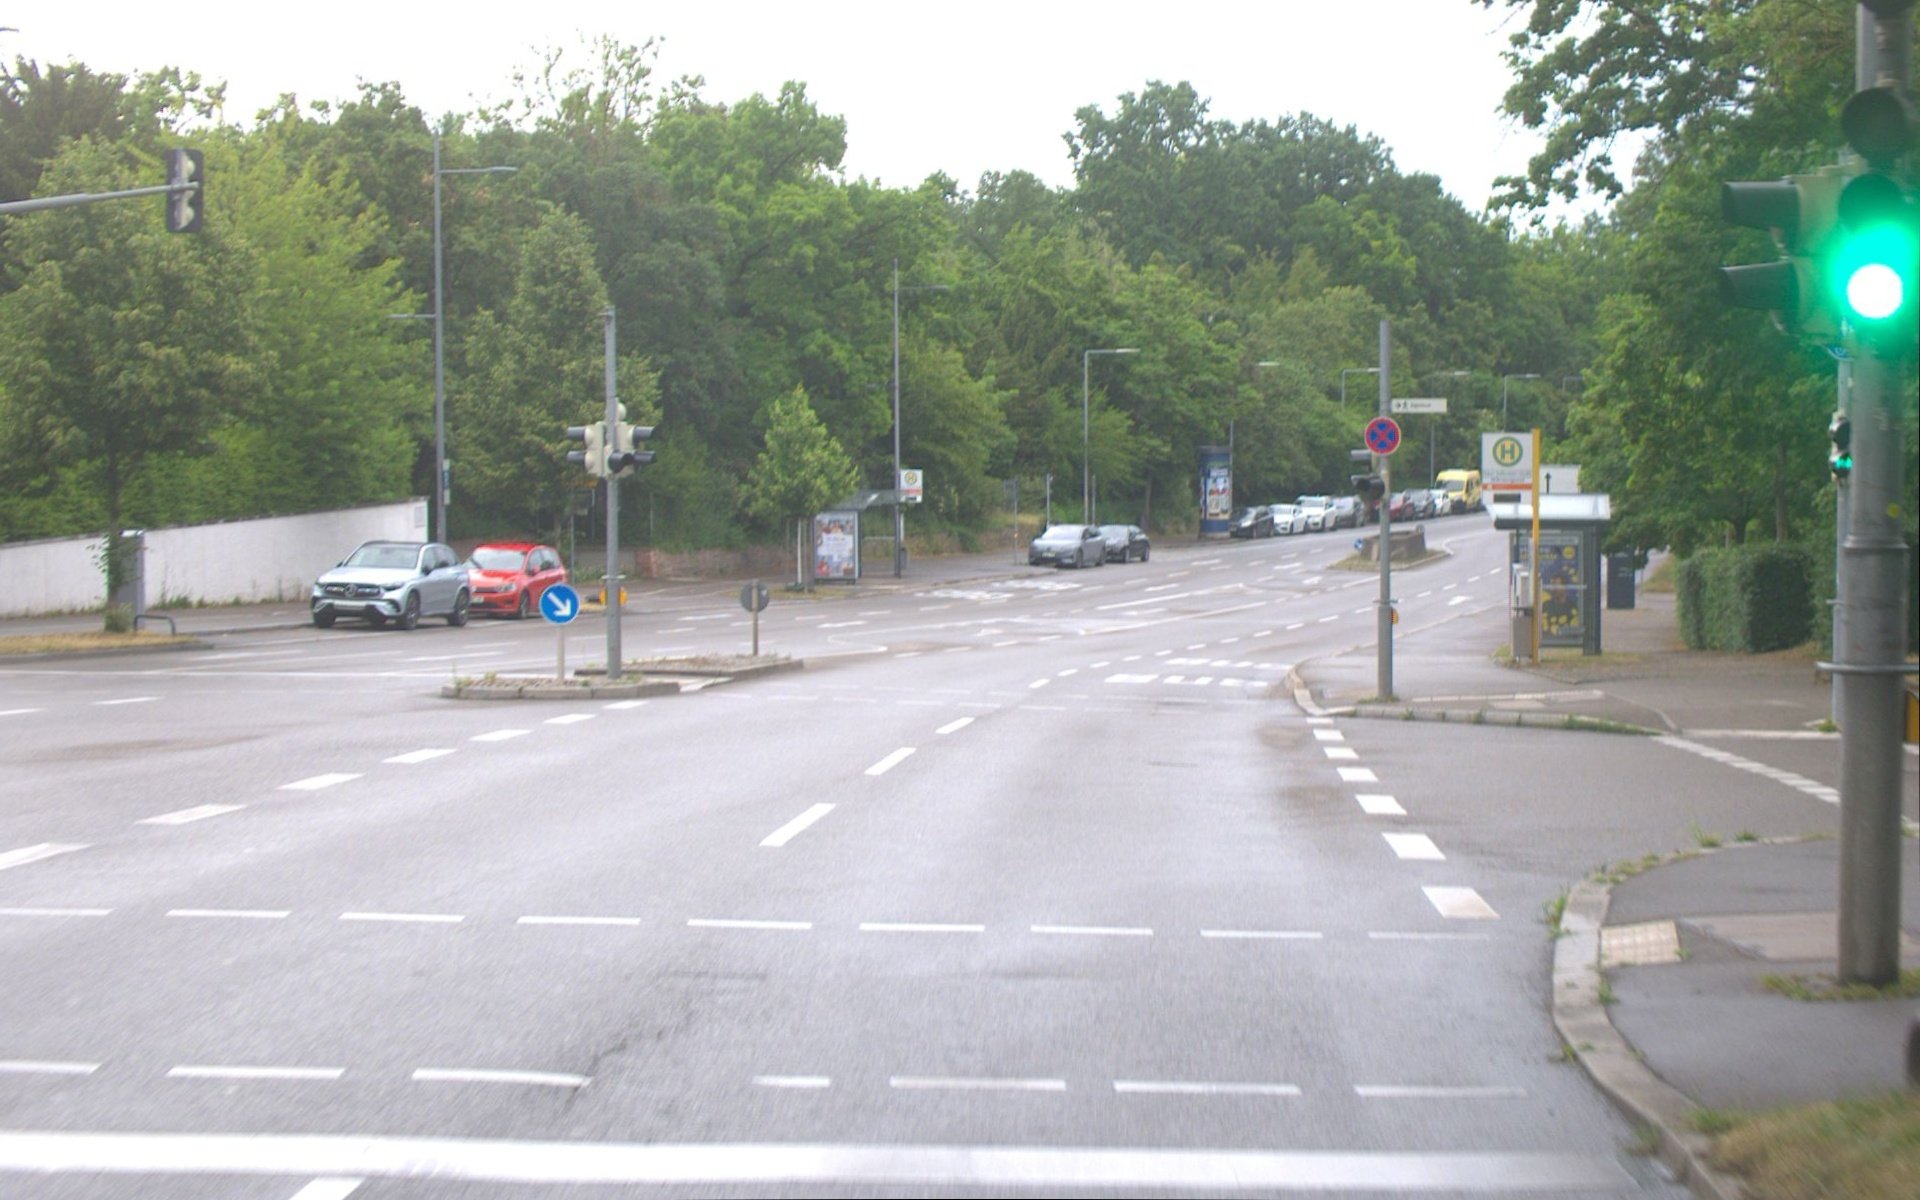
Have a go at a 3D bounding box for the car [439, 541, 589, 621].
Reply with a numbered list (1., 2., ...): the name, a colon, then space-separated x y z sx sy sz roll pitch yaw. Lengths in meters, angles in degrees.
1. car: -9.425 -0.431 72.973 1.875 1.569 4.221 3 2 11

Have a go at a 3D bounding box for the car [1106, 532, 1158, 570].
1. car: 6.604 -1.868 131.863 1.417 1.420 3.120 1 1 14

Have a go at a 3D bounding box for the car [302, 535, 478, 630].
1. car: -10.844 -0.370 65.724 1.854 1.634 4.091 3 2 12

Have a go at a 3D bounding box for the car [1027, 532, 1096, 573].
1. car: 3.745 -1.738 126.027 1.714 1.455 3.748 1 1 14

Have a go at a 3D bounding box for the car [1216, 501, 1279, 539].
1. car: 13.406 -3.718 160.098 1.958 1.480 3.997 3 5 19

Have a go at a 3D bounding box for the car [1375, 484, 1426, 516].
1. car: 24.287 -5.502 189.338 1.958 1.480 3.997 3 5 19

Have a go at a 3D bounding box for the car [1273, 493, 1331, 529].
1. car: 16.868 -4.409 169.495 1.958 1.480 3.997 3 5 19

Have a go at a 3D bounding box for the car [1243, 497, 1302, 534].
1. car: 14.983 -4.069 164.797 1.861 1.480 3.997 3 5 19

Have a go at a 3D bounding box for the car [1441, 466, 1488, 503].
1. car: 29.983 -6.860 204.123 1.958 1.930 3.997 3 5 19

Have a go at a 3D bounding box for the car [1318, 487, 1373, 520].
1. car: 19.924 -4.992 177.493 1.958 1.480 3.997 3 5 19
